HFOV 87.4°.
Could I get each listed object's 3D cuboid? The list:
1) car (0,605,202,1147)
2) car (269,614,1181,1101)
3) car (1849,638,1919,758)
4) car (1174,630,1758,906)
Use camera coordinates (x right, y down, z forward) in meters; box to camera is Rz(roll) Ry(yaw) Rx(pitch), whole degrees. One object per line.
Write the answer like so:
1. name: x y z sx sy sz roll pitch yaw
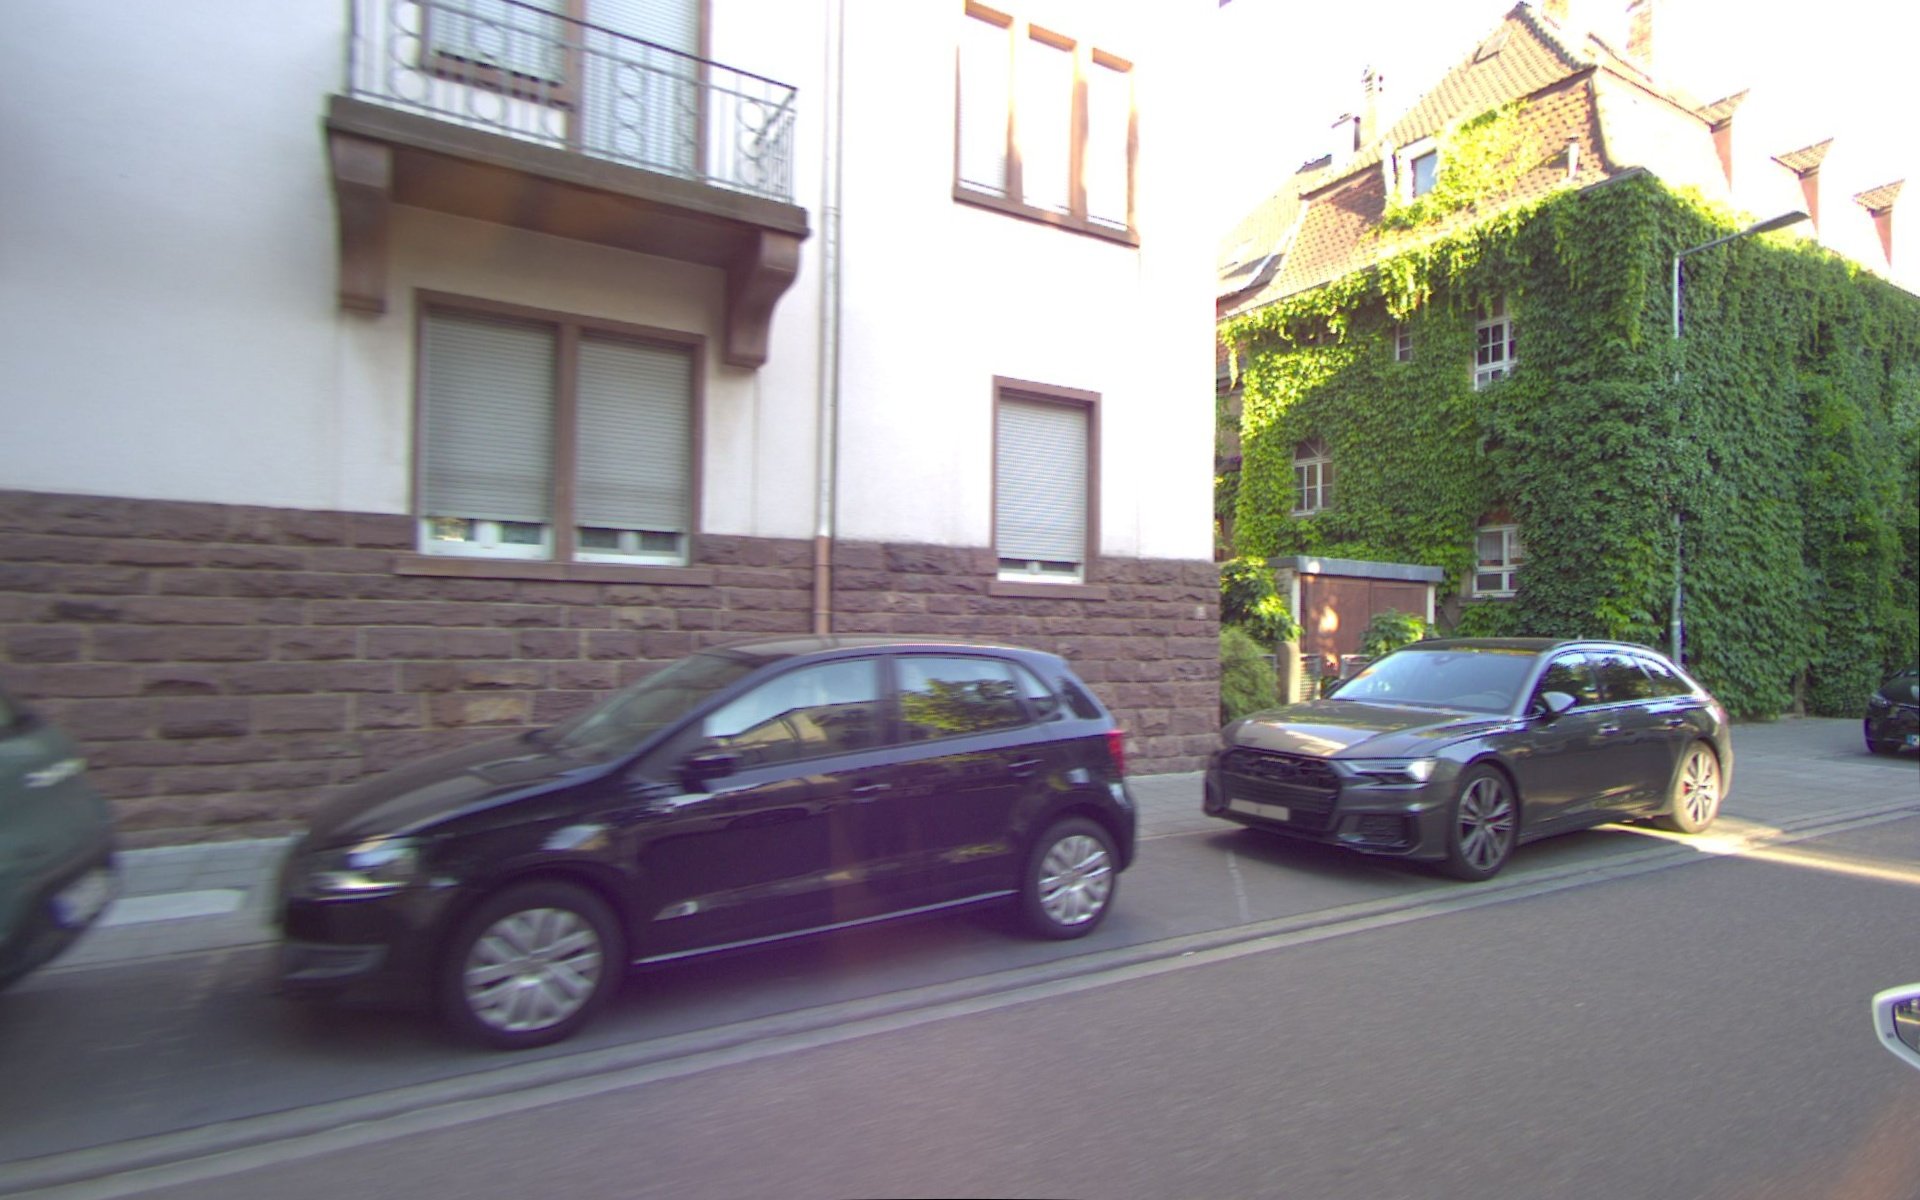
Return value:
1. car: -4.523 0.745 2.711 3.719 1.505 1.646 1 -1 -30
2. car: -0.920 0.840 4.792 3.802 1.466 1.644 1 -1 -32
3. car: 13.473 1.245 13.068 4.049 1.439 1.642 1 -1 -30
4. car: 3.974 1.004 7.584 4.725 1.481 1.782 1 -1 -33
